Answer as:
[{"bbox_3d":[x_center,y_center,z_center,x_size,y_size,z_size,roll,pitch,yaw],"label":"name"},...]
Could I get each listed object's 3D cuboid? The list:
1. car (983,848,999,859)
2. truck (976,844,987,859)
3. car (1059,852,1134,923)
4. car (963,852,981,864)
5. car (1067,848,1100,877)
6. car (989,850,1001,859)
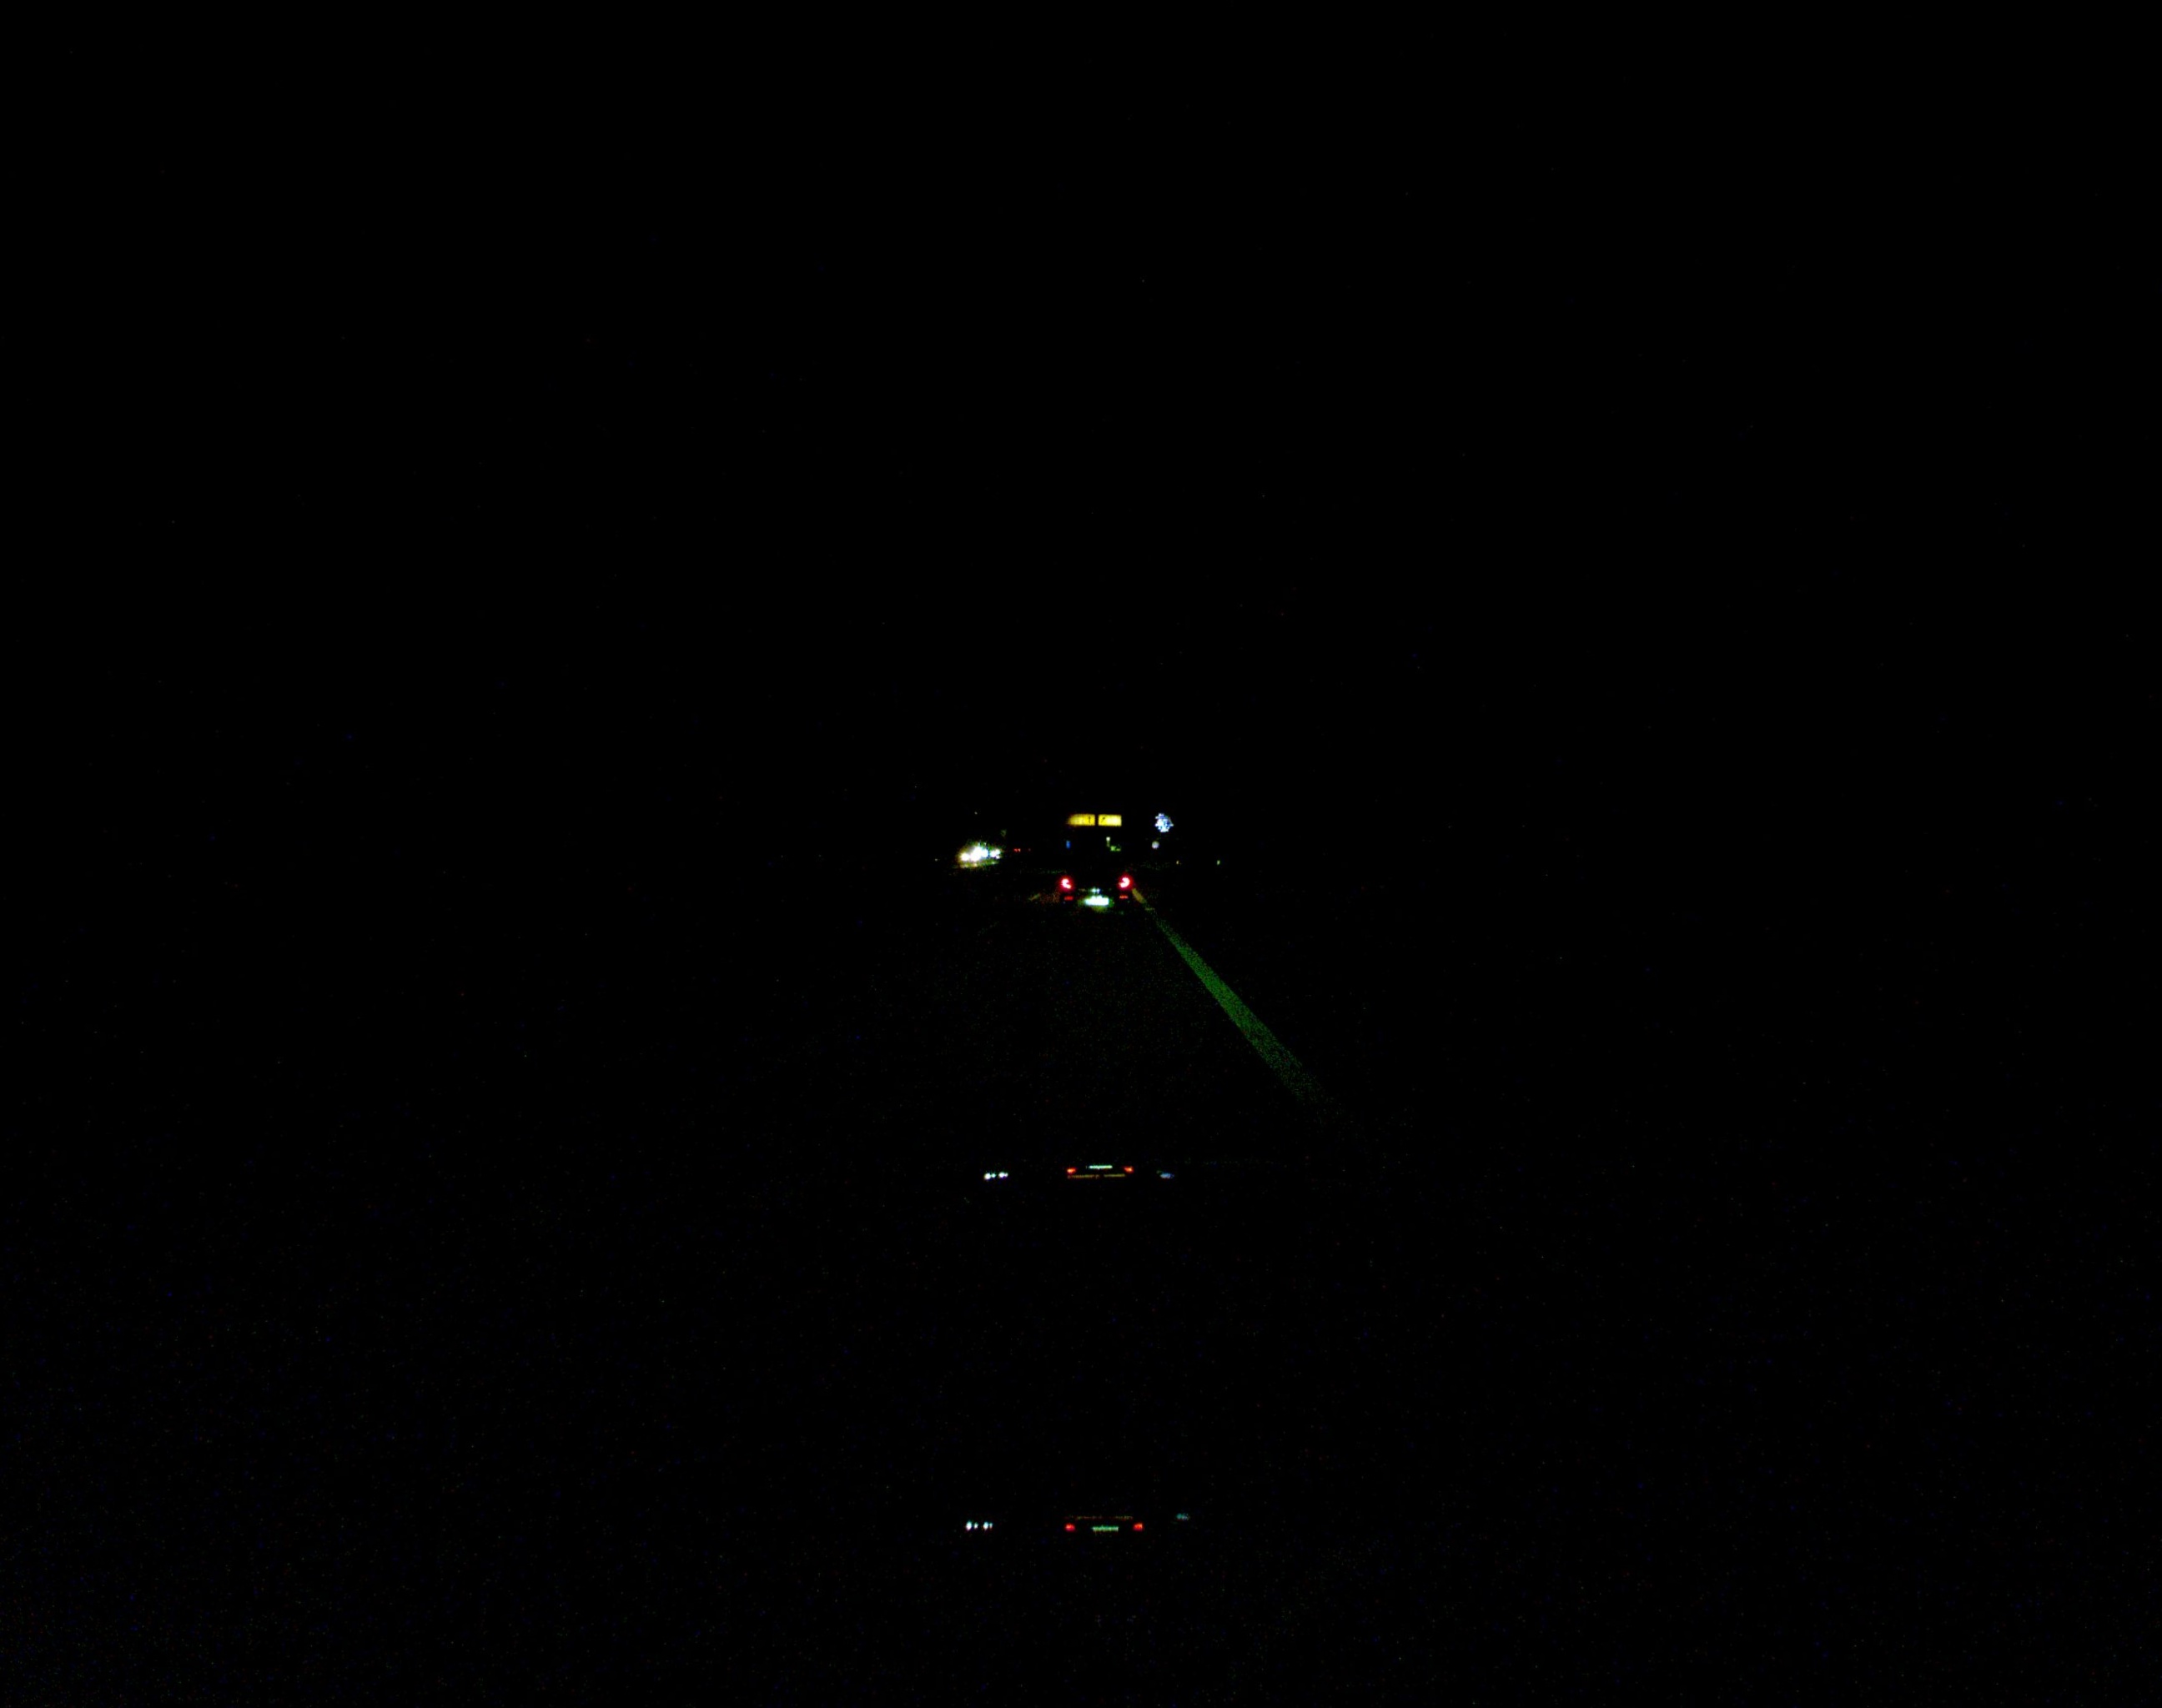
[{"bbox_3d":[-14.785,-0.049,133.621,1.961,1.763,5.032,0,0,0],"label":"car"},{"bbox_3d":[-29.542,-0.746,241.197,2.625,4.232,8.568,3,0,-9],"label":"truck"},{"bbox_3d":[0.323,0.721,19.659,1.583,1.508,3.999,-1,0,-1],"label":"car"},{"bbox_3d":[-14.637,0.485,109.541,1.722,1.517,4.158,0,0,0],"label":"car"},{"bbox_3d":[0.196,0.501,50.775,1.900,1.698,4.000,2,1,1],"label":"car"},{"bbox_3d":[-18.445,0.082,175.259,2.357,2.013,5.026,0,0,-3],"label":"car"}]
